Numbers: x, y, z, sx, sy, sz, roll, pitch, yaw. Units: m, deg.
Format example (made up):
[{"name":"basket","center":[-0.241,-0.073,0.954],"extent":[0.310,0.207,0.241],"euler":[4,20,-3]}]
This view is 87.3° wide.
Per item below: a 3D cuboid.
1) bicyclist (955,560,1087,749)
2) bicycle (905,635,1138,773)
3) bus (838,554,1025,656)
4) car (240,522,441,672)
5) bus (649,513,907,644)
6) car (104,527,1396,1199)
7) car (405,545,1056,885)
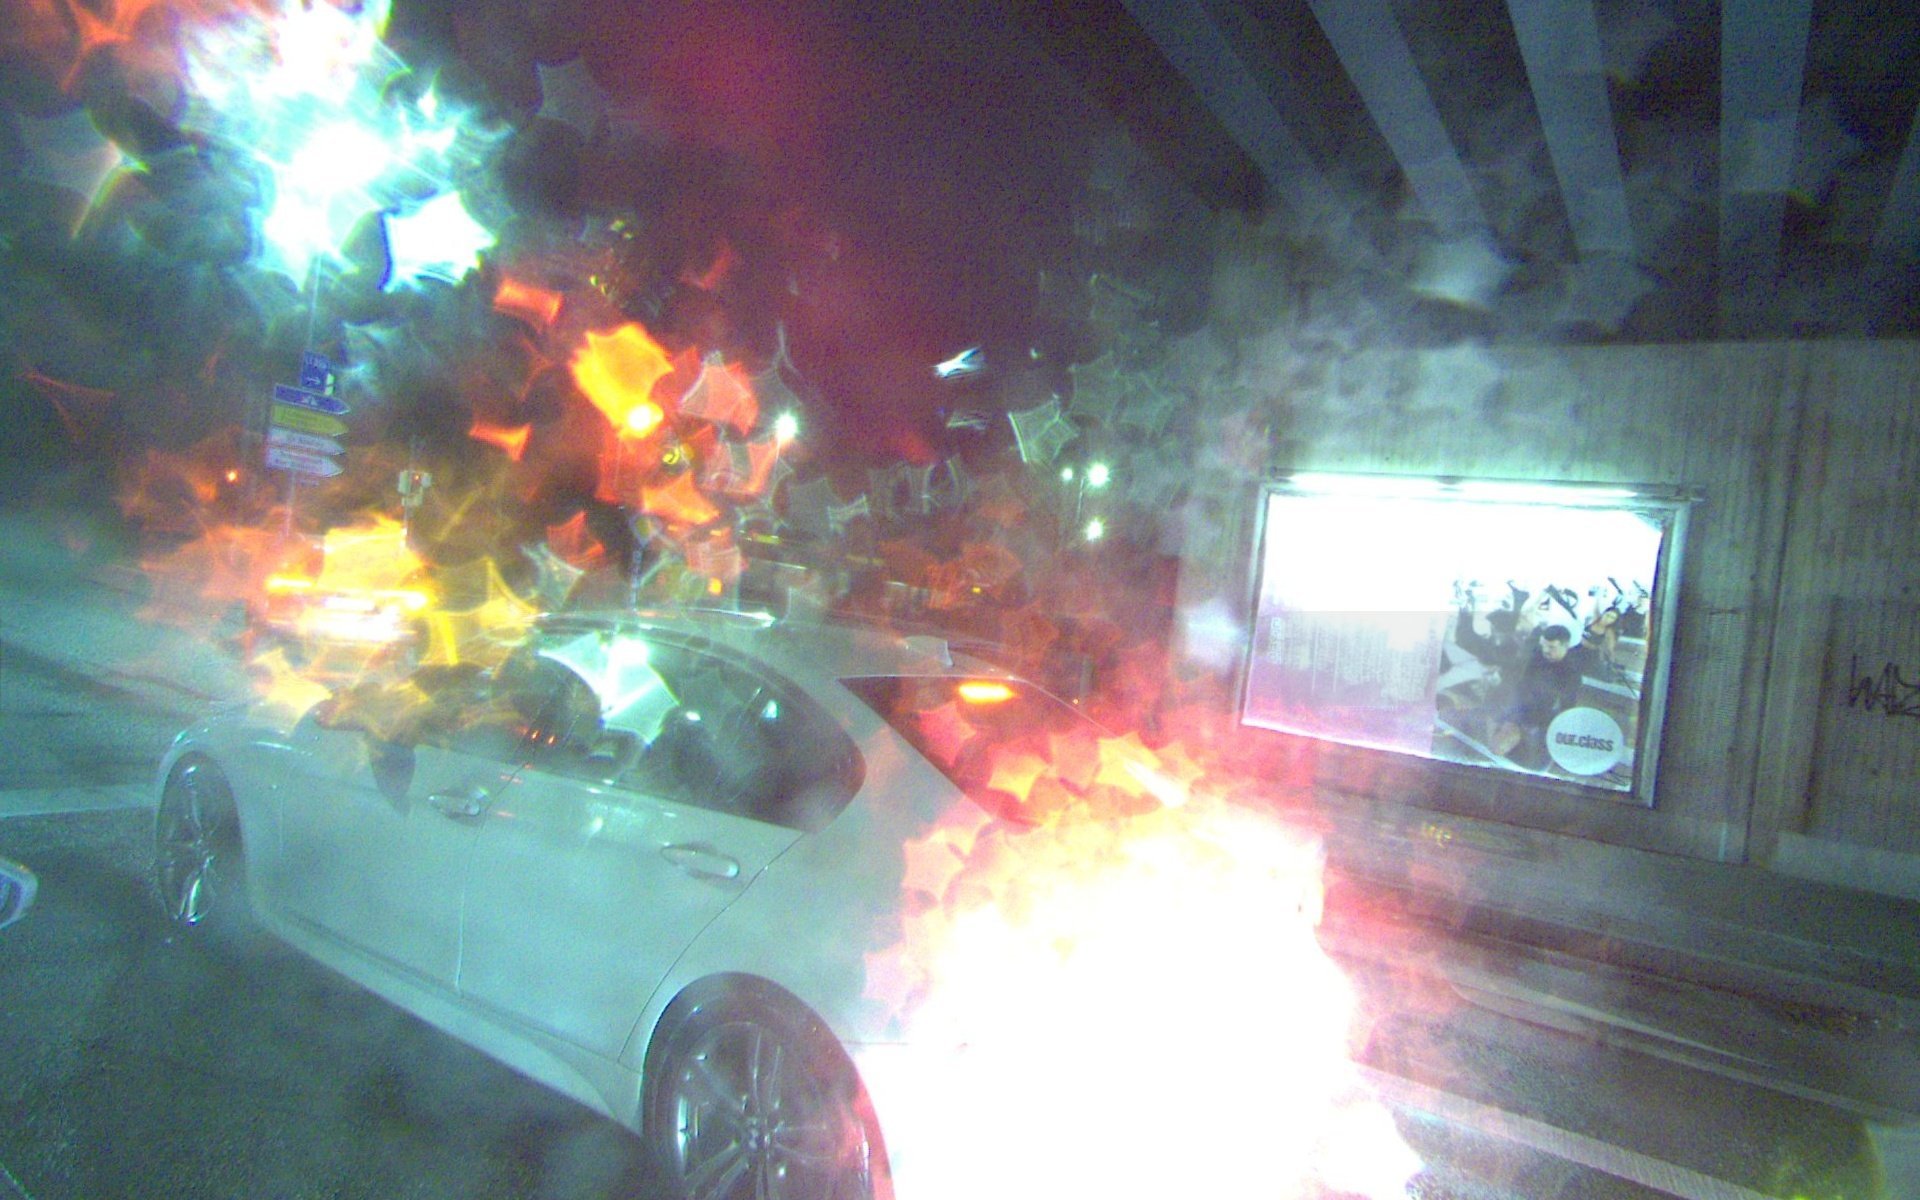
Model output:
[{"name":"bicyclist","center":[0.631,0.559,10.347],"extent":[0.886,1.783,0.798],"euler":[6,-1,31]},{"name":"bicycle","center":[0.608,1.035,10.354],"extent":[2.171,1.070,0.798],"euler":[6,-2,32]},{"name":"bus","center":[-0.894,0.395,42.901],"extent":[2.732,3.159,9.748],"euler":[7,-2,32]},{"name":"car","center":[-8.383,-0.090,13.493],"extent":[1.827,1.495,4.587],"euler":[8,-2,-34]},{"name":"bus","center":[-5.840,-0.515,34.724],"extent":[2.731,3.159,9.750],"euler":[7,-2,31]},{"name":"car","center":[-0.978,0.704,3.503],"extent":[4.277,1.420,1.720],"euler":[6,-2,32]},{"name":"car","center":[-1.813,0.646,7.496],"extent":[4.550,1.502,1.852],"euler":[8,0,29]}]
